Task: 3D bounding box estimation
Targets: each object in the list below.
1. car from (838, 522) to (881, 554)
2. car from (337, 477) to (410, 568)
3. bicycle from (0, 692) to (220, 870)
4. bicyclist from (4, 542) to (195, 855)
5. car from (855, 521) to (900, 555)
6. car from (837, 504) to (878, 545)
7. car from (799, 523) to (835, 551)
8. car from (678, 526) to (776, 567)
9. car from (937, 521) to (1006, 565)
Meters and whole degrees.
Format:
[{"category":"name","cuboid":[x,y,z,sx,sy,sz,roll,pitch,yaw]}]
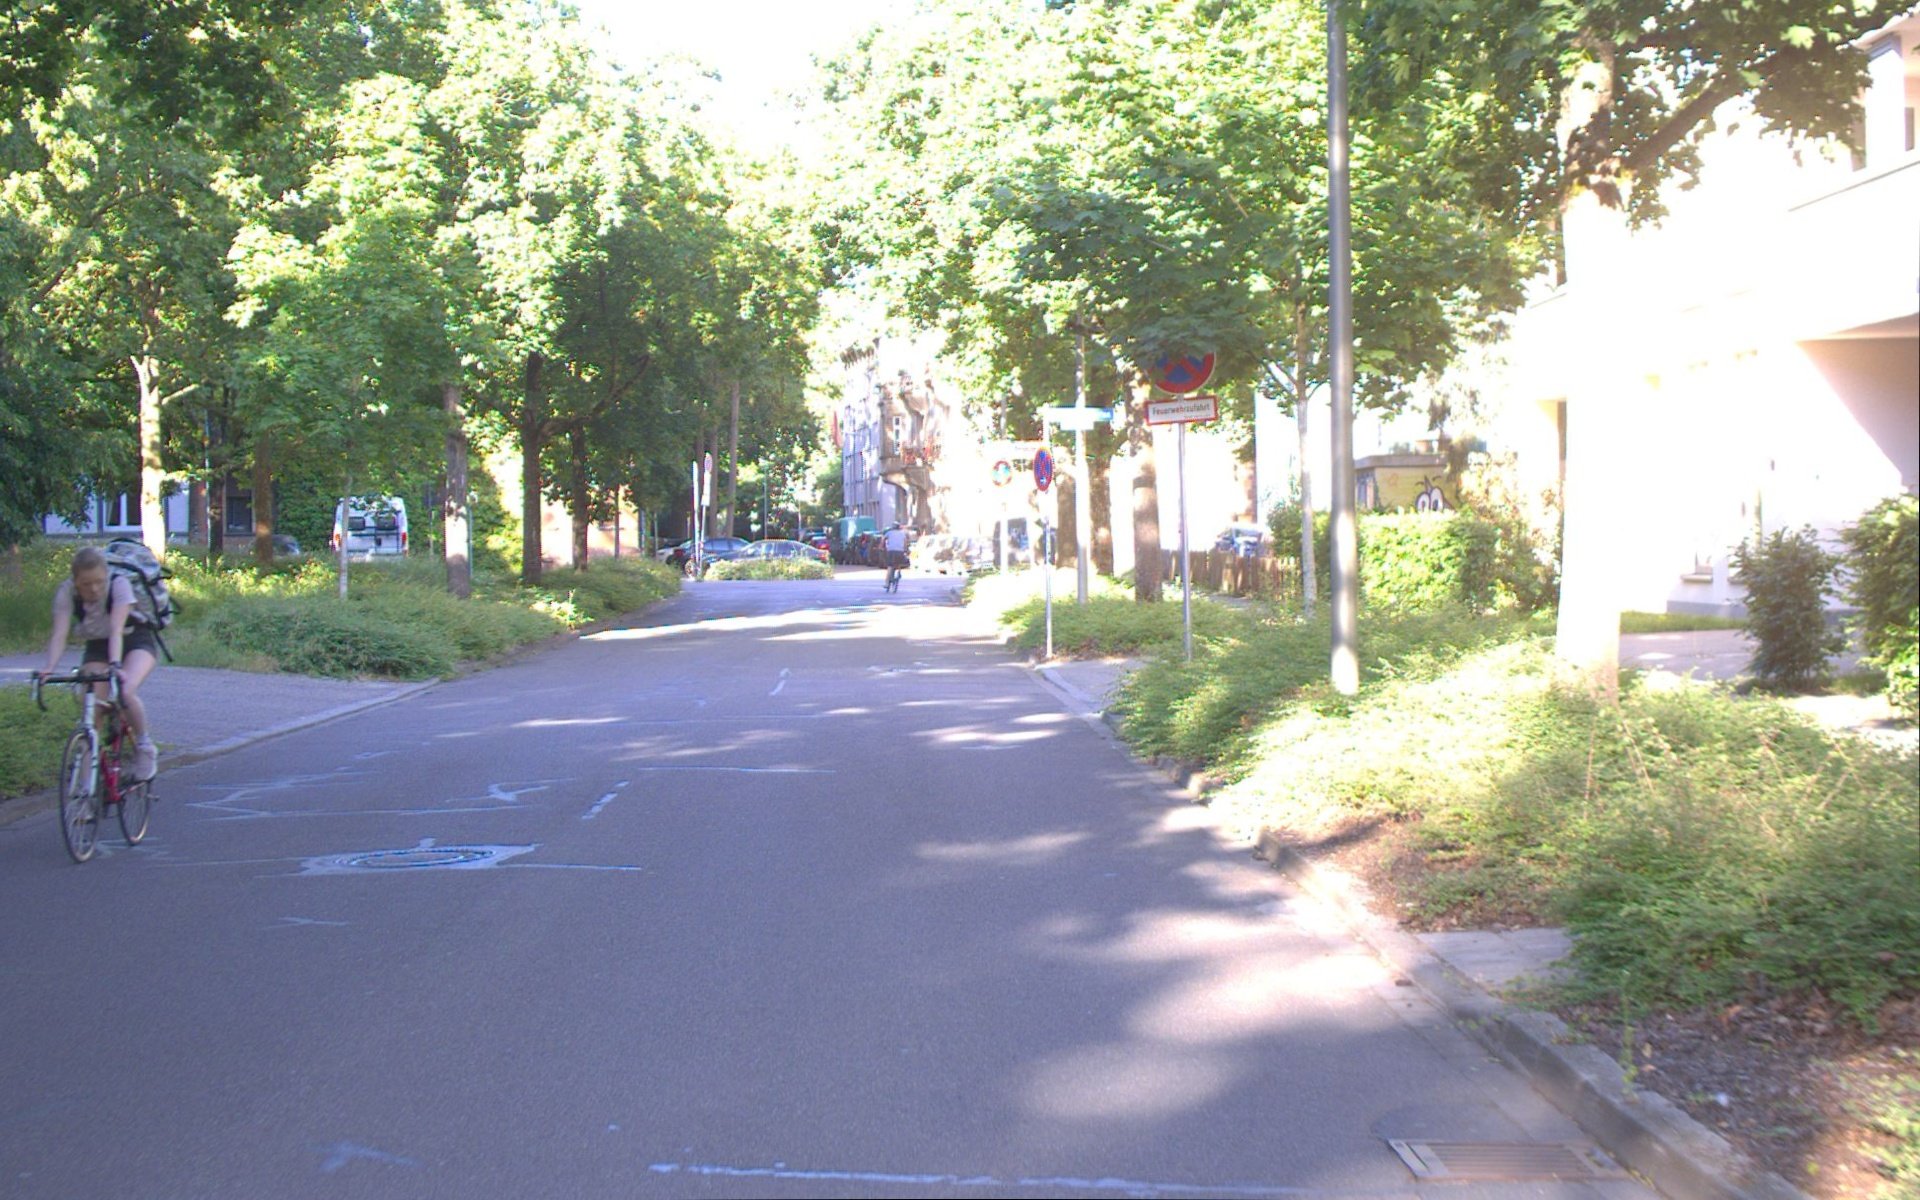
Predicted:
[{"category":"car","cuboid":[-4.792,-2.964,163.918,1.811,1.496,4.001,1,1,-5]},{"category":"car","cuboid":[-16.537,-2.172,96.941,1.993,2.499,4.001,0,1,-10]},{"category":"bicycle","cuboid":[-4.433,0.911,17.748,0.639,0.739,2.126,-2,1,3]},{"category":"bicyclist","cuboid":[-4.446,0.489,17.824,0.633,1.549,1.002,-2,1,3]},{"category":"car","cuboid":[-3.802,-2.835,157.394,1.811,1.496,4.001,1,1,-5]},{"category":"car","cuboid":[-5.198,-3.813,174.105,1.811,2.043,4.001,1,1,-5]},{"category":"car","cuboid":[-7.960,-3.517,191.021,1.811,1.496,4.001,1,1,-5]},{"category":"car","cuboid":[-8.856,-2.046,130.782,3.586,1.505,1.500,1,1,-9]},{"category":"car","cuboid":[0.372,-2.005,120.580,1.811,1.496,4.001,-1,1,-8]}]
